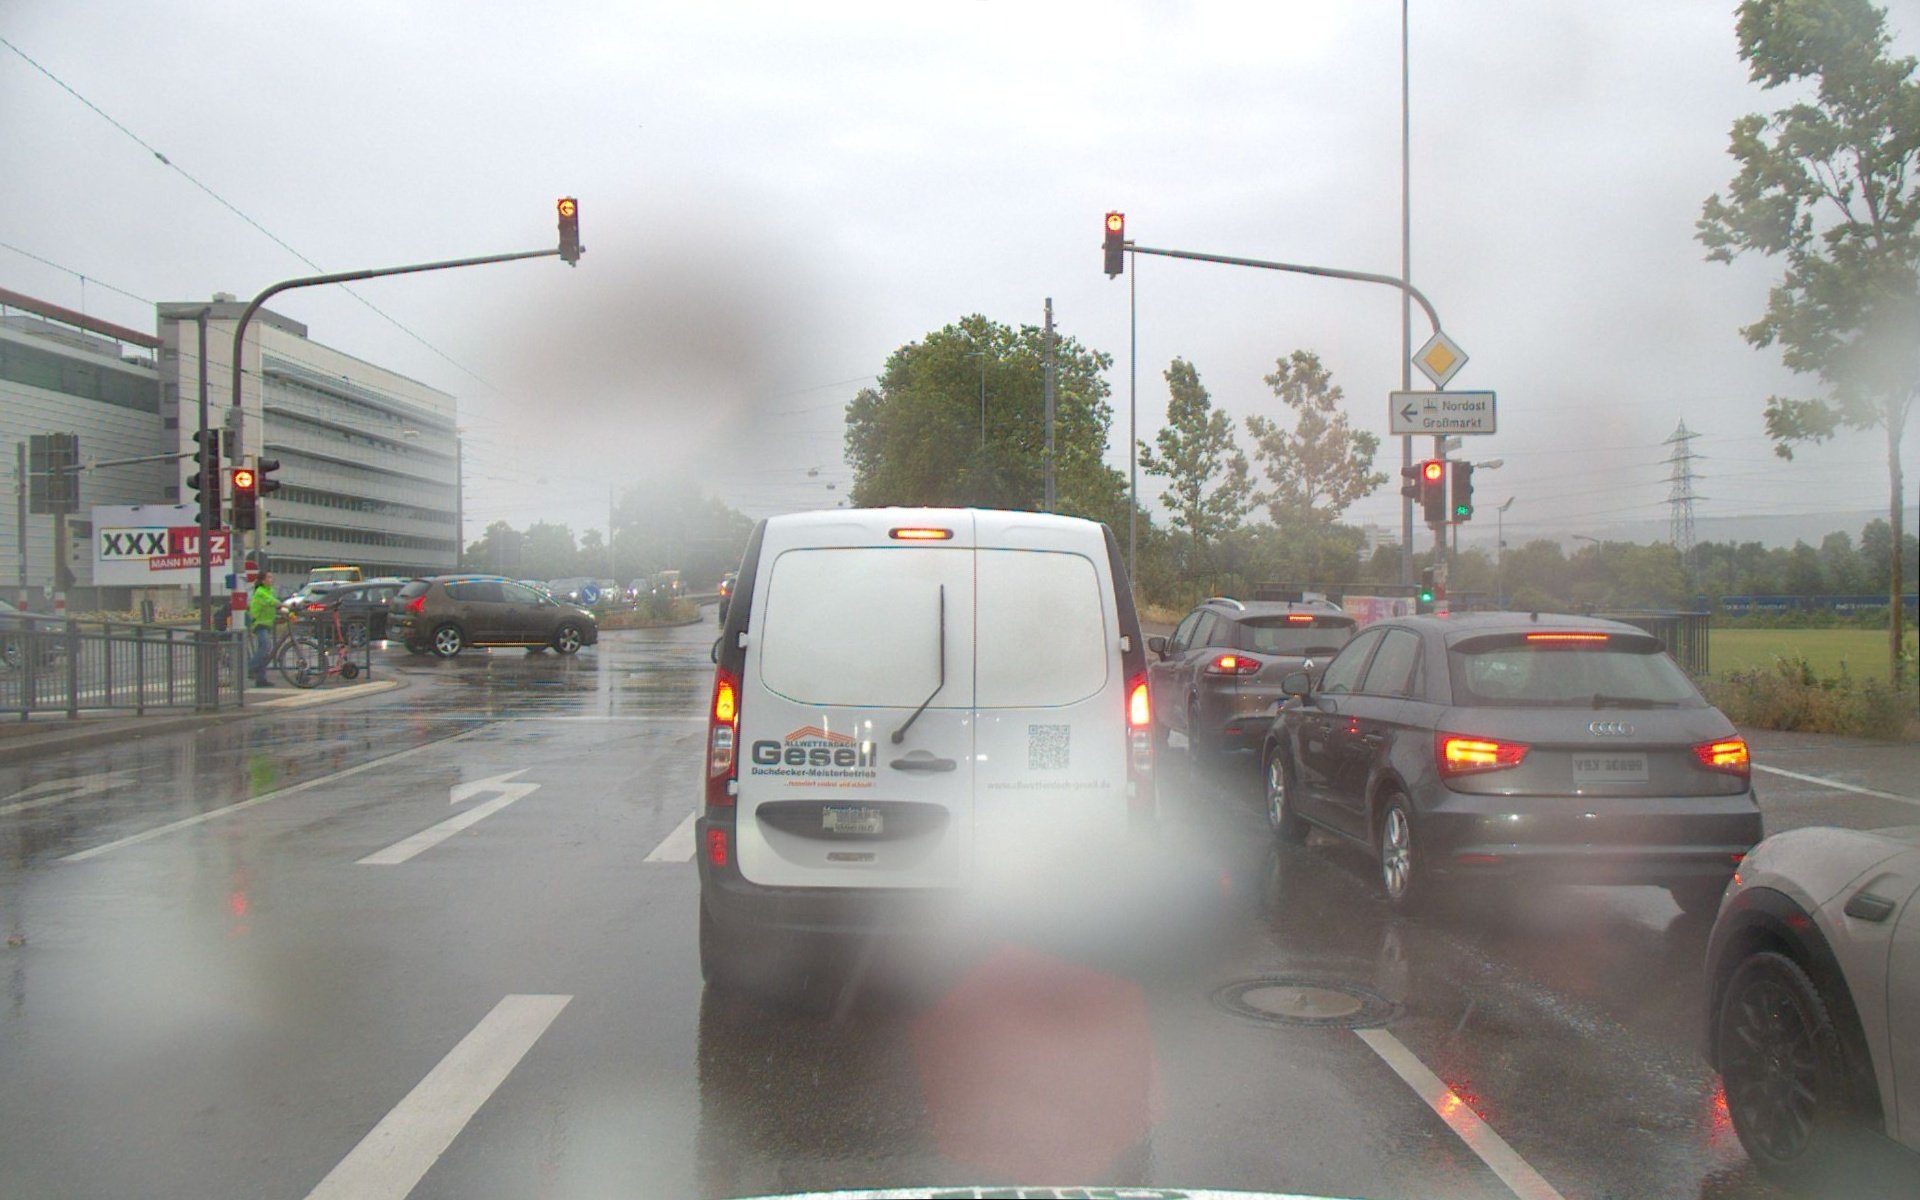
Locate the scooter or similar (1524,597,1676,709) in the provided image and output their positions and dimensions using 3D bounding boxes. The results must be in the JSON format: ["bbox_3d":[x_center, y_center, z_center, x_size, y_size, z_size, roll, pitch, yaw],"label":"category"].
[{"bbox_3d":[7.641,0.590,19.937,0.676,1.232,3.020,0,0,0],"label":"scooter or similar"}]

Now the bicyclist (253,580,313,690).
[{"bbox_3d":[-9.529,0.482,23.280,0.600,1.517,0.591,2,0,-41],"label":"bicyclist"}]

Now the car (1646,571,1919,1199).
[{"bbox_3d":[2.958,0.746,3.055,1.668,1.534,3.879,3,0,-1],"label":"car"}]

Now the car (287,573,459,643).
[{"bbox_3d":[-13.685,0.206,38.698,1.619,1.422,3.439,4,0,37],"label":"car"}]

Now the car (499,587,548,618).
[{"bbox_3d":[-22.018,0.126,83.544,1.528,1.451,3.568,2,-1,-1],"label":"car"}]

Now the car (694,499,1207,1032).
[{"bbox_3d":[-0.173,0.529,7.671,1.719,1.780,4.166,1,1,-4],"label":"car"}]

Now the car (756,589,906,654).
[{"bbox_3d":[-3.230,0.582,42.383,1.675,1.528,4.504,2,-1,27],"label":"car"}]

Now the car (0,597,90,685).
[{"bbox_3d":[-17.769,0.652,29.388,3.719,1.422,1.531,4,0,-13],"label":"car"}]

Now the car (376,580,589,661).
[{"bbox_3d":[-9.795,0.434,34.034,3.881,1.422,1.516,4,0,-37],"label":"car"}]

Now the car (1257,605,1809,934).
[{"bbox_3d":[2.807,0.759,8.955,1.565,1.390,3.628,-1,-1,-3],"label":"car"}]

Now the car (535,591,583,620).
[{"bbox_3d":[-22.028,0.312,91.002,1.676,1.451,3.808,2,-1,-1],"label":"car"}]

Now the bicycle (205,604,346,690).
[{"bbox_3d":[-9.581,0.648,23.177,1.745,1.157,0.512,1,0,-43],"label":"bicycle"}]

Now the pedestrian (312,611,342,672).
[{"bbox_3d":[-9.691,0.634,25.328,0.309,0.913,0.380,2,0,-3],"label":"pedestrian"}]

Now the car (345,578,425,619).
[{"bbox_3d":[-21.762,-0.031,62.745,1.676,1.451,3.808,2,-1,-1],"label":"car"}]

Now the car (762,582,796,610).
[{"bbox_3d":[-11.634,-0.227,106.461,1.909,1.691,4.460,2,-1,-4],"label":"car"}]

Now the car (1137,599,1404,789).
[{"bbox_3d":[2.772,0.774,15.571,1.650,1.534,3.919,1,0,-2],"label":"car"}]

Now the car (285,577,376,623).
[{"bbox_3d":[-21.584,0.034,56.841,1.676,1.451,3.808,2,-1,-1],"label":"car"}]
